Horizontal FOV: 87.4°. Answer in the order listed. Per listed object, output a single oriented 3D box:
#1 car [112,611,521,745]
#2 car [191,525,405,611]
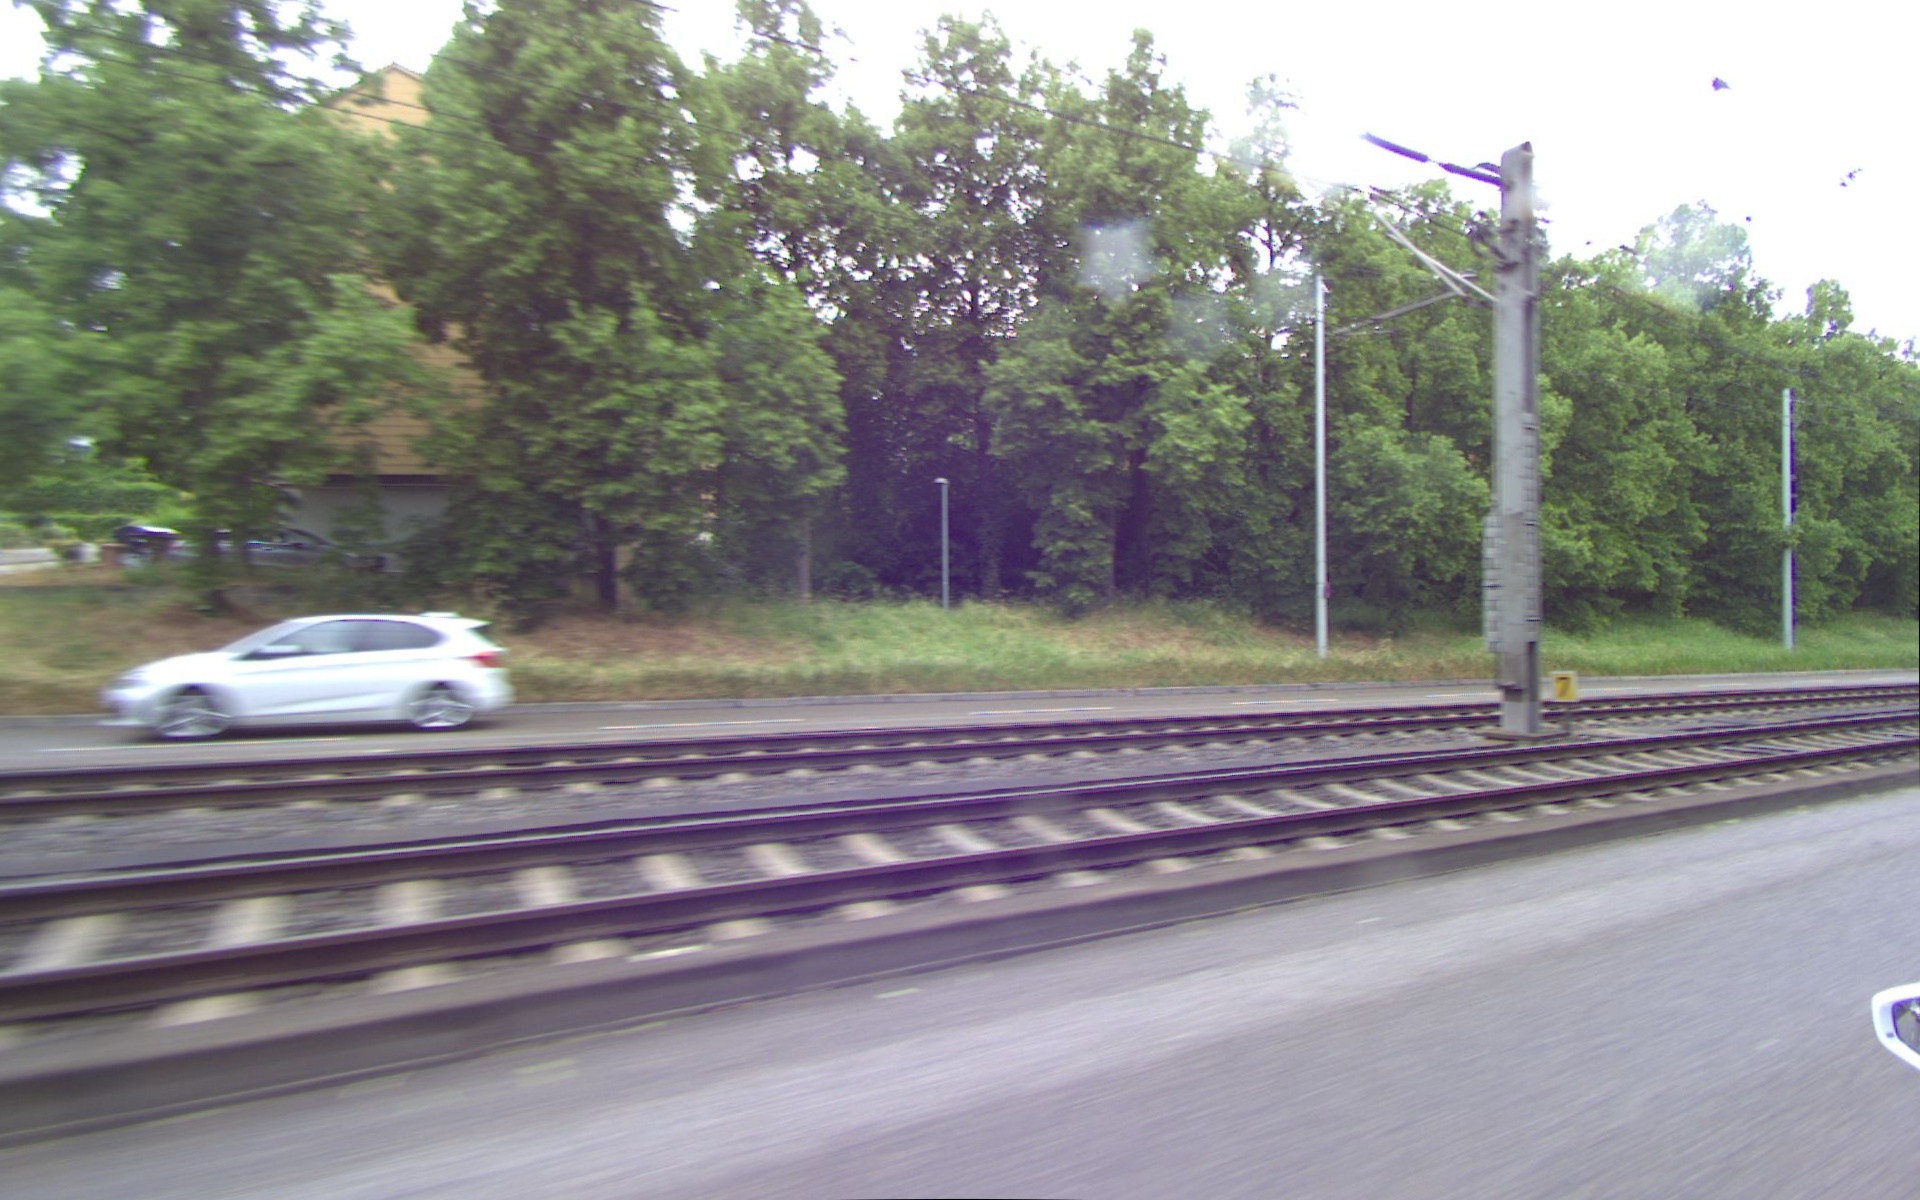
[{"bbox_3d":[-8.298,0.945,13.404,4.327,1.550,1.646,1,-1,-30],"label":"car"},{"bbox_3d":[-16.978,-0.767,25.983,4.145,2.040,1.962,1,-1,-14],"label":"car"}]
